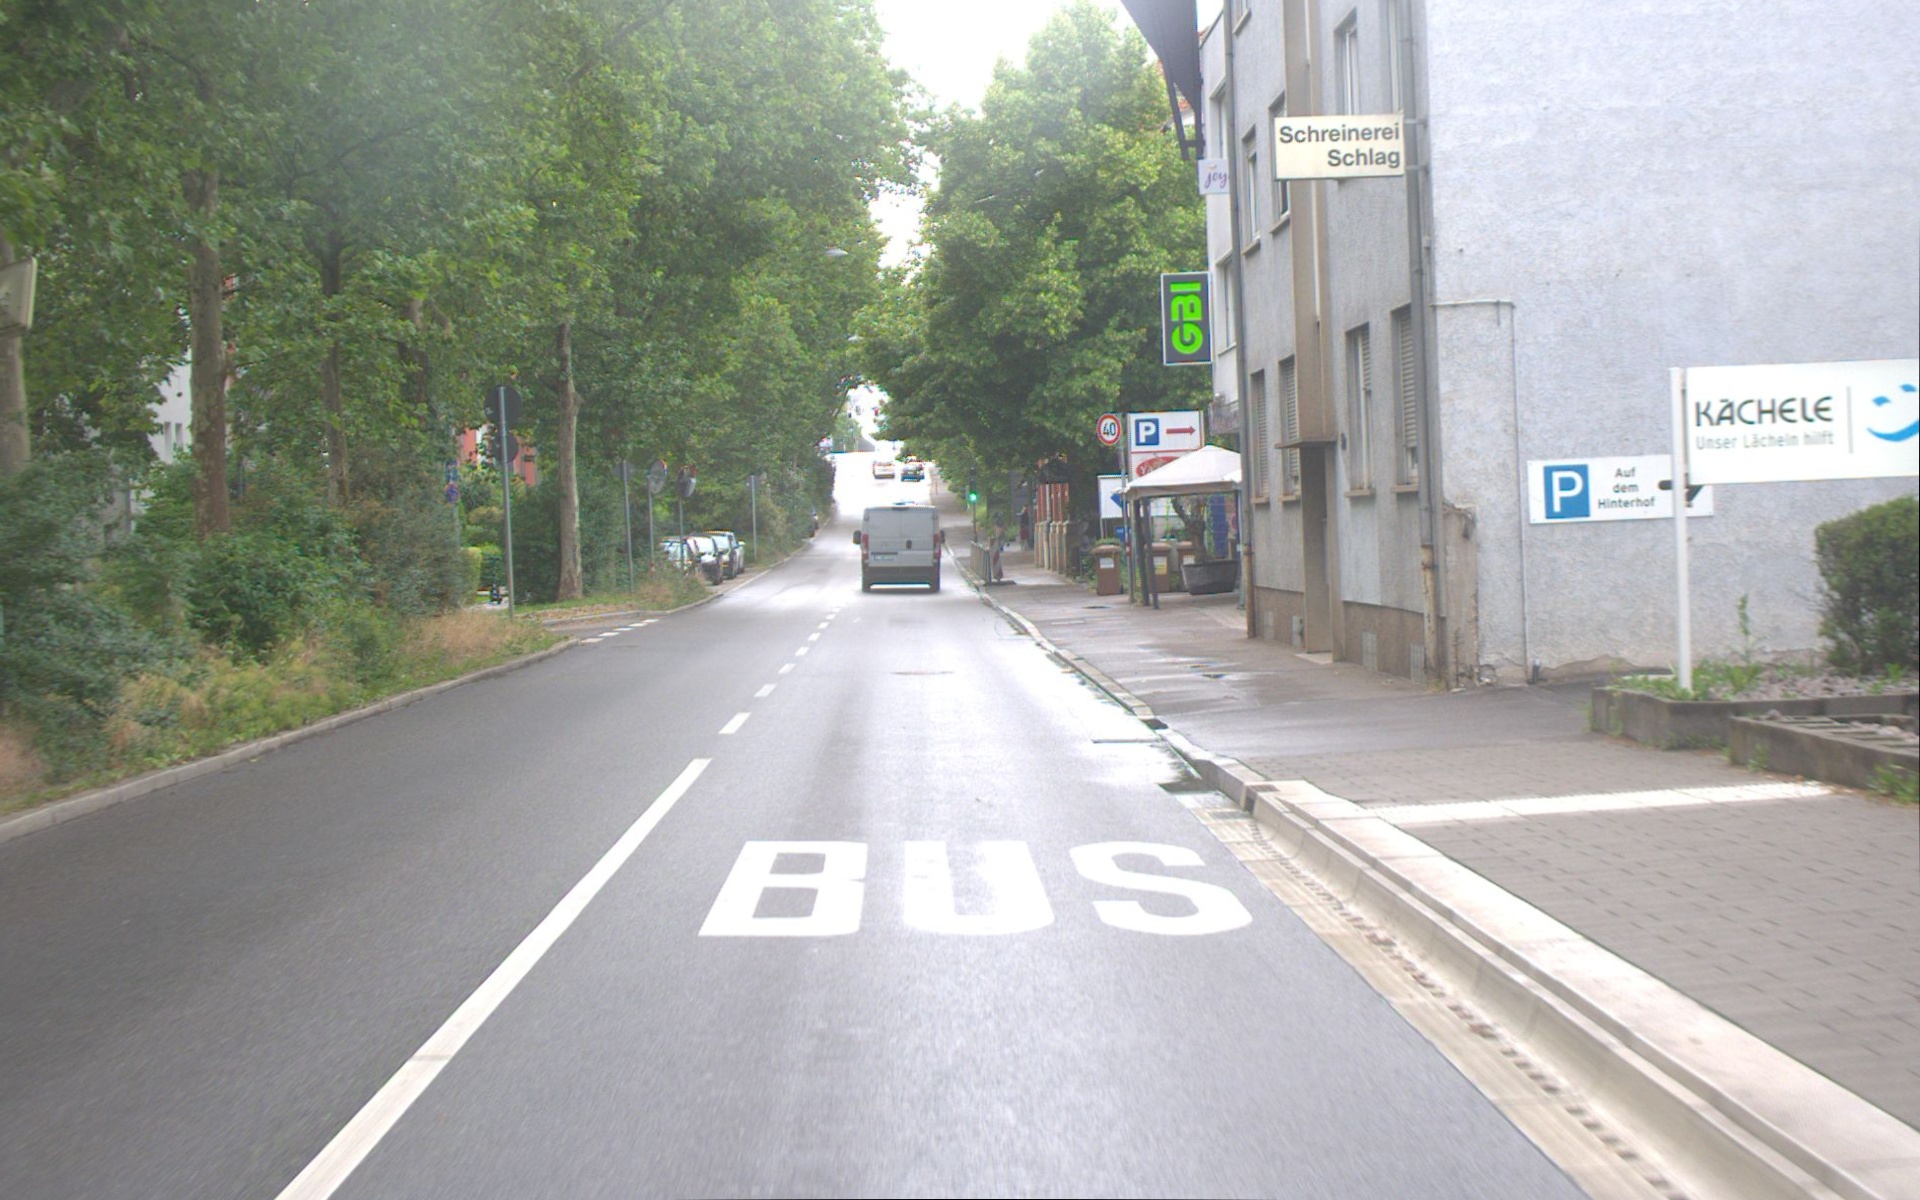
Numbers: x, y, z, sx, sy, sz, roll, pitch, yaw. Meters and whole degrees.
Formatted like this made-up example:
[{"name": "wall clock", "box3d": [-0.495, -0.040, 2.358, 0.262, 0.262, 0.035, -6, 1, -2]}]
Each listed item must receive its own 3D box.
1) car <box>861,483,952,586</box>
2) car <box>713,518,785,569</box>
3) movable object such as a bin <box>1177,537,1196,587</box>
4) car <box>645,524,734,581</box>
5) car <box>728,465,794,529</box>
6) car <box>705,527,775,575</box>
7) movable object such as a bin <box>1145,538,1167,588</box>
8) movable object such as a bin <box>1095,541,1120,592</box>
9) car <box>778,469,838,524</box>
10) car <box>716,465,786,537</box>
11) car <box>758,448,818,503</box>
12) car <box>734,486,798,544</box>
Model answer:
[{"name": "car", "box3d": [-1.397, -1.685, 90.135, 2.282, 2.544, 4.000, -1, -1, -1]}, {"name": "car", "box3d": [-7.542, -2.006, 123.330, 2.215, 1.685, 4.609, 0, -1, 1]}, {"name": "movable object such as a bin", "box3d": [4.883, -0.814, 74.202, 0.356, 1.063, 0.358, 0, -1, -7]}, {"name": "car", "box3d": [-8.086, -1.392, 103.117, 2.215, 1.587, 4.609, 0, -1, 1]}, {"name": "car", "box3d": [-7.750, -4.007, 134.357, 2.215, 2.286, 4.609, 0, -1, 1]}, {"name": "car", "box3d": [-7.515, -1.671, 117.852, 1.995, 1.538, 4.609, 0, -1, 1]}, {"name": "movable object such as a bin", "box3d": [4.237, -0.801, 74.185, 0.399, 1.063, 0.358, -1, -1, -7]}, {"name": "movable object such as a bin", "box3d": [3.180, -0.729, 74.132, 0.399, 1.063, 0.358, -5, 0, -7]}, {"name": "car", "box3d": [-6.856, -4.671, 155.820, 2.216, 2.286, 4.608, 0, -1, 4]}, {"name": "car", "box3d": [-7.809, -3.690, 128.786, 2.215, 2.525, 4.609, 0, 0, 1]}, {"name": "car", "box3d": [-7.403, -5.340, 148.351, 2.215, 2.286, 4.609, 0, 1, 1]}, {"name": "car", "box3d": [-7.876, -3.454, 140.039, 2.215, 2.286, 4.609, 0, 1, 1]}]
